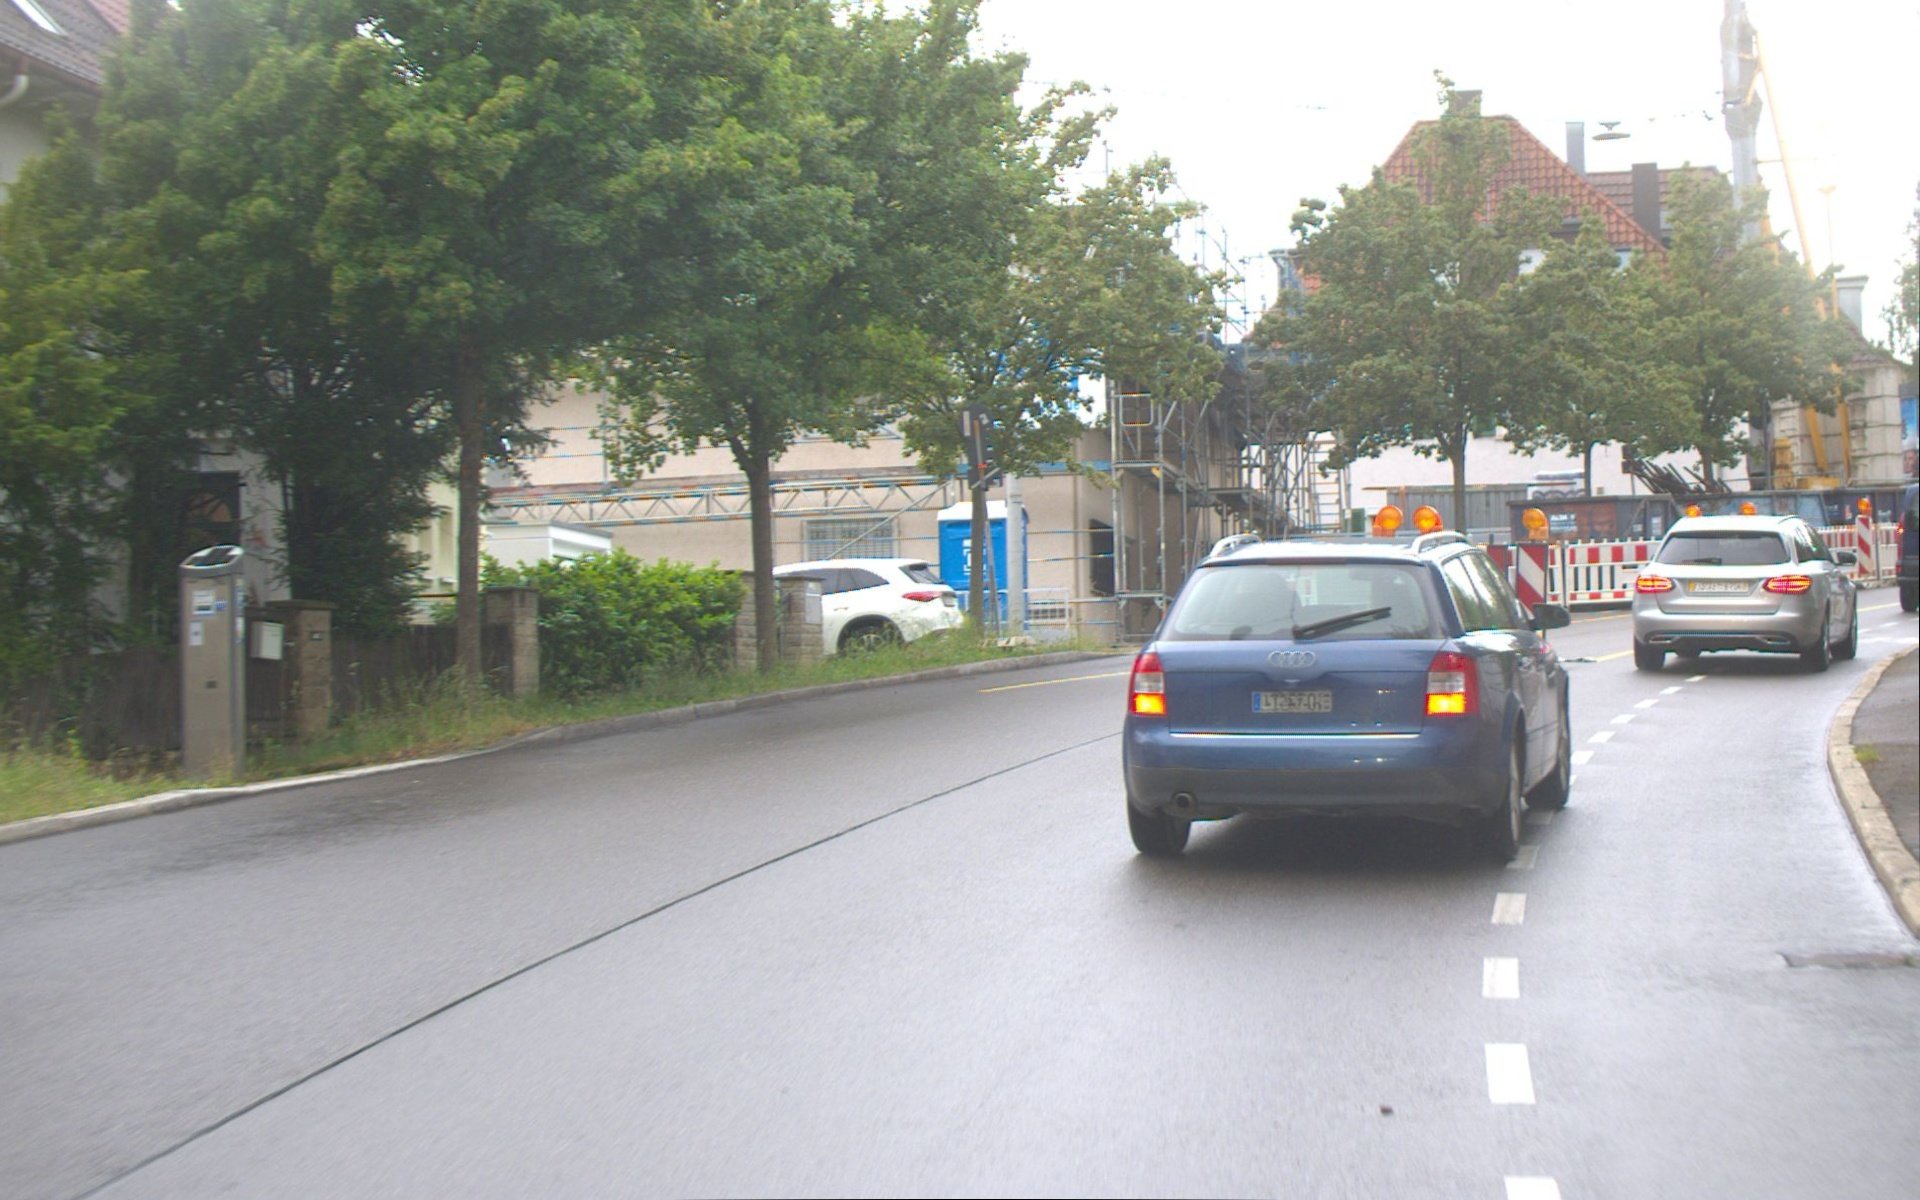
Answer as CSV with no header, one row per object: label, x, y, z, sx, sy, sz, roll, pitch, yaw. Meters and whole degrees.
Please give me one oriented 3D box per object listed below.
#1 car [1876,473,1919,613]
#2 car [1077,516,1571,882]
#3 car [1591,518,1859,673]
car,14.528,-0.907,48.908,1.733,1.888,4.049,-5,0,31
car,1.846,0.355,16.281,1.778,1.434,3.998,1,2,14
car,7.471,-0.078,33.263,1.911,1.383,4.346,0,1,21
